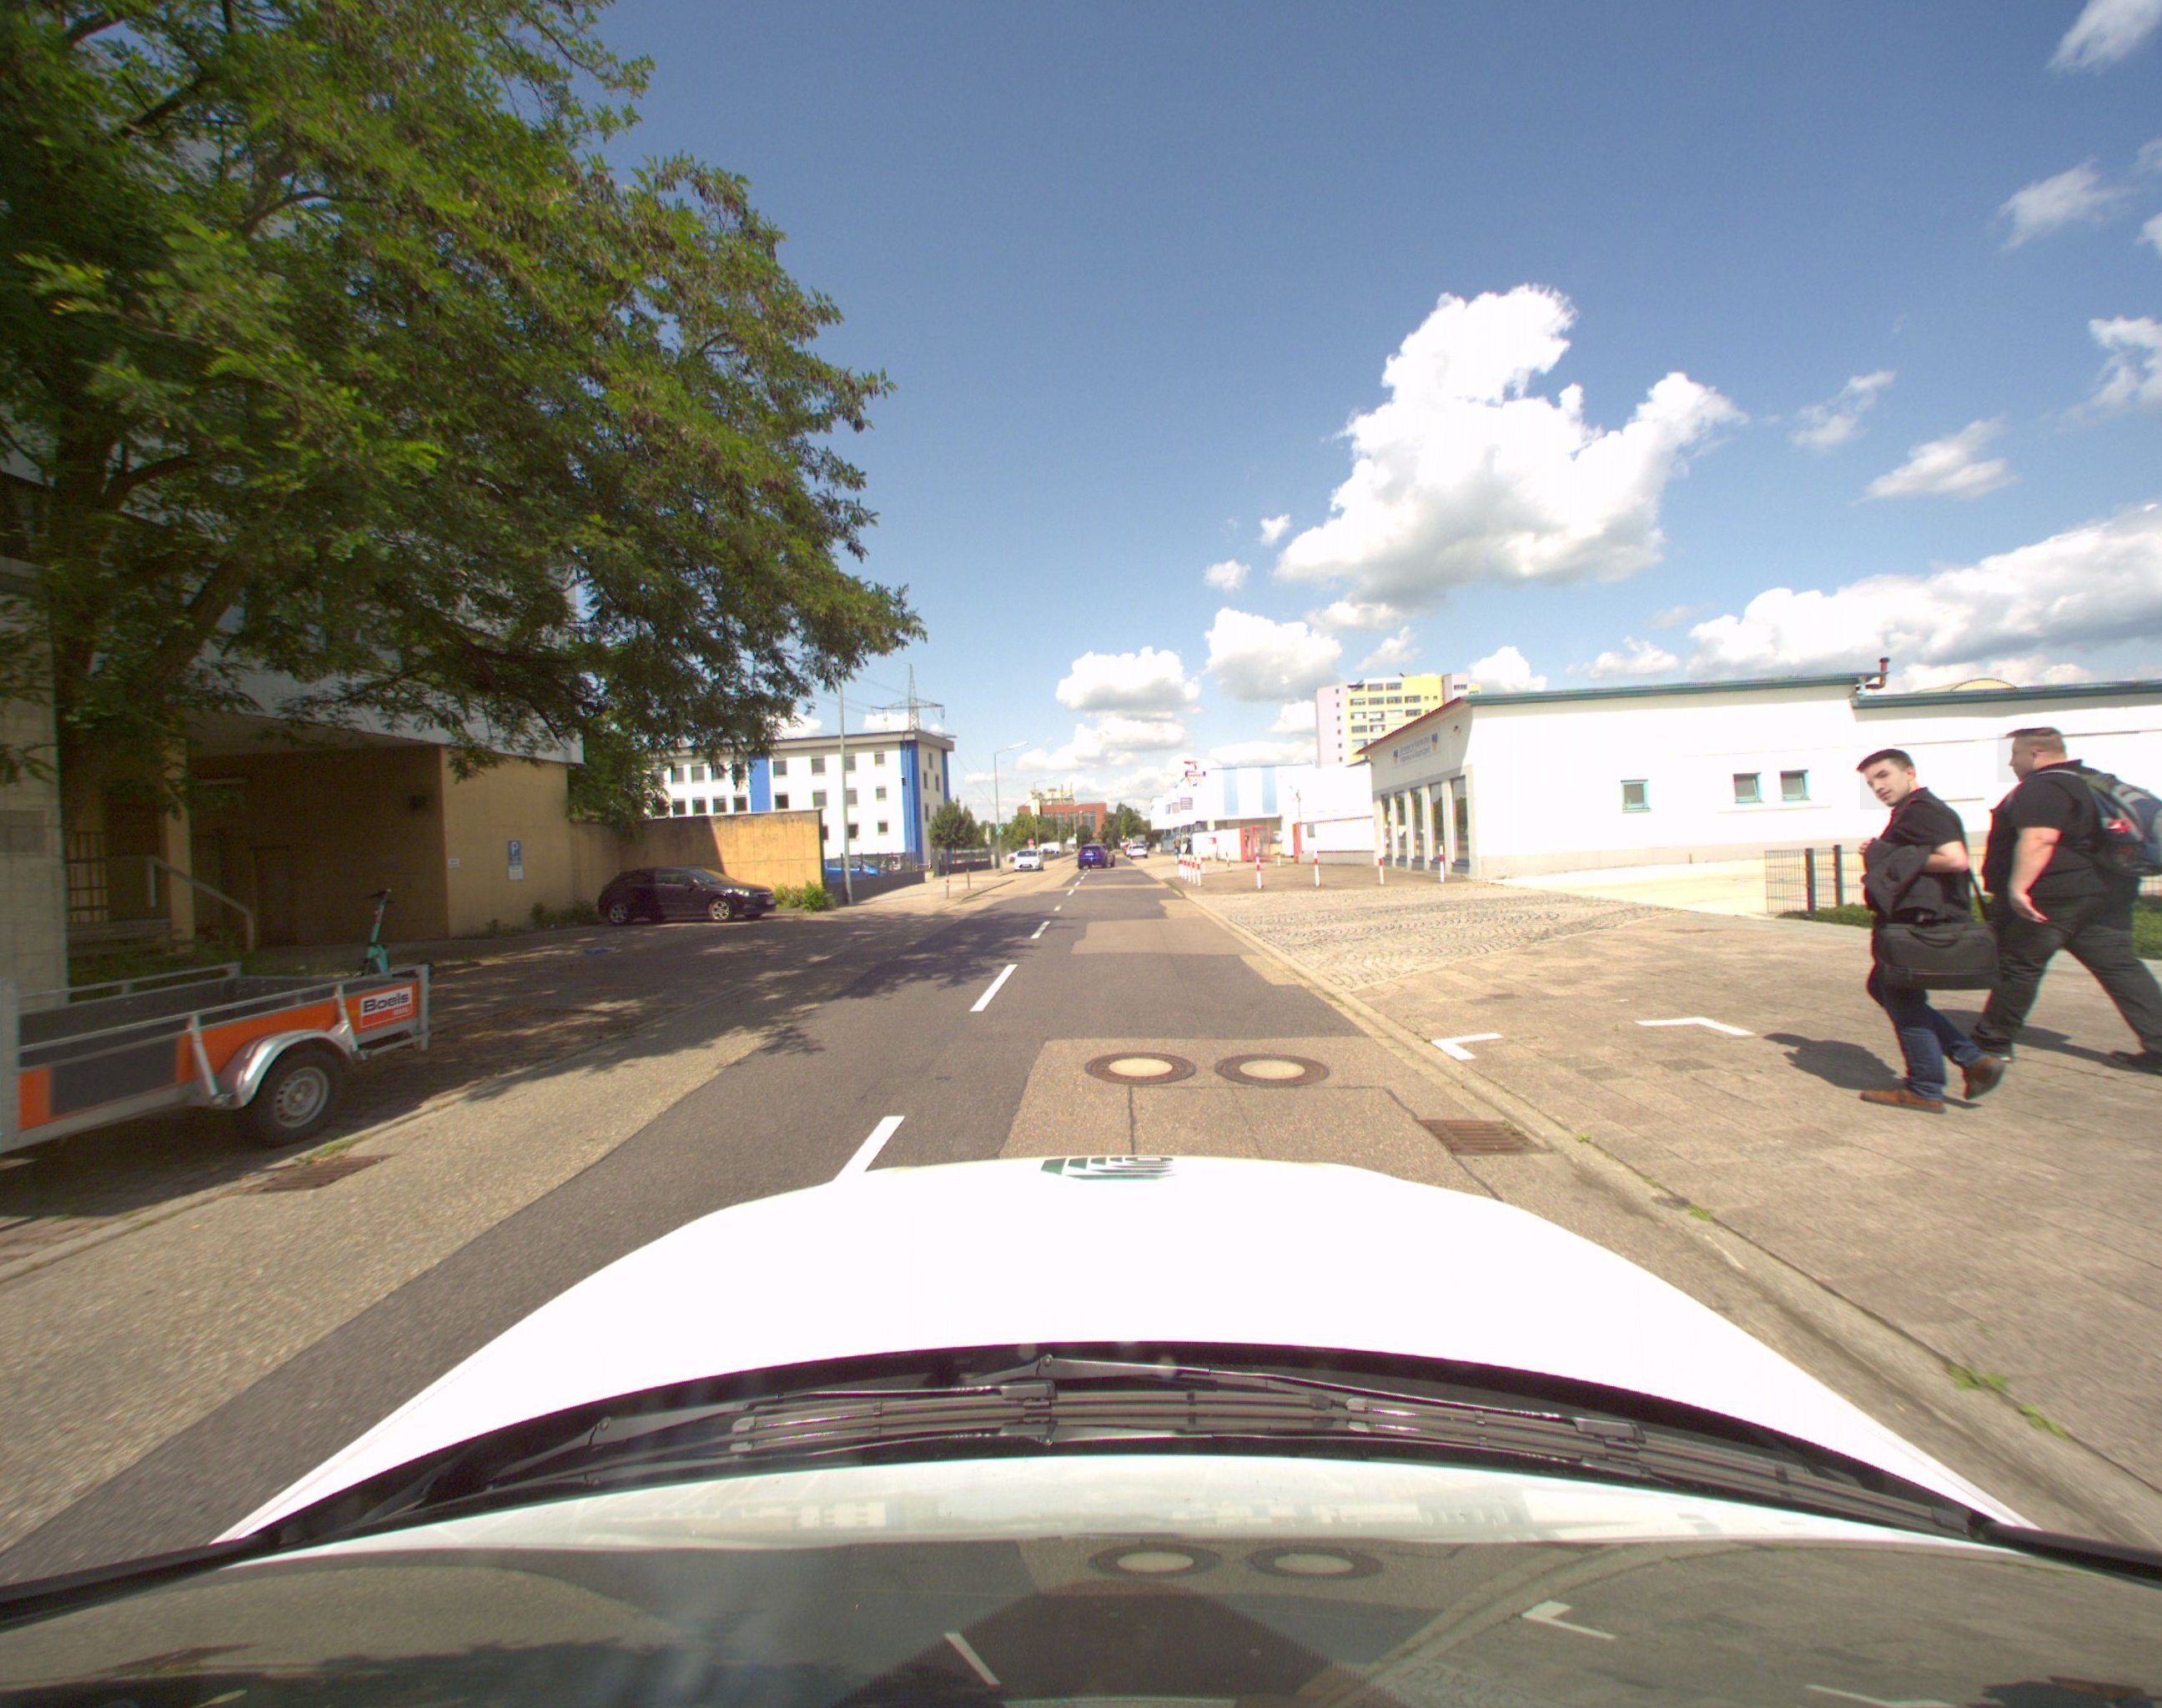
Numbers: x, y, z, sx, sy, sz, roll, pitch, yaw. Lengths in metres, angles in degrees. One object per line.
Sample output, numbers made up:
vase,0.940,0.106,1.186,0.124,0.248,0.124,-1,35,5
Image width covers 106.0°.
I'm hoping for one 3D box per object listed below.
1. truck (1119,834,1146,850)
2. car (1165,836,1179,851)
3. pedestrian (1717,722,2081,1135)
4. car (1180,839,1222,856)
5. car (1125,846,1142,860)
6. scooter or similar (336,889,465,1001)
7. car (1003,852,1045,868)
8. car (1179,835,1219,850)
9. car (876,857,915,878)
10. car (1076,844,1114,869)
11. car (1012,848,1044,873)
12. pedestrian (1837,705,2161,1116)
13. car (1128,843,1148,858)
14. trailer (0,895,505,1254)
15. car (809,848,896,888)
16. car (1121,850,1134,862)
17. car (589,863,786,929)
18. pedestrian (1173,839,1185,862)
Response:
truck,13.001,-2.955,204.169,2.298,3.567,9.428,-1,2,32
car,15.068,-1.727,135.294,1.916,2.463,5.262,-2,0,2
pedestrian,4.142,0.308,4.192,0.860,1.807,0.998,-4,0,-21
car,12.065,-0.640,82.278,3.971,1.420,2.001,-4,1,2
car,6.321,-0.160,98.795,1.828,1.520,4.463,-2,0,1
scooter or similar,-8.724,1.123,10.500,0.480,1.279,1.361,0,0,2
car,-6.858,0.736,98.359,4.742,1.602,1.999,-4,0,-2
car,13.318,-1.261,92.178,4.263,1.420,2.001,-4,1,2
car,-15.311,1.093,67.401,1.862,1.507,3.767,-3,0,8
car,1.008,0.148,56.042,1.898,1.593,4.713,-2,0,9
car,-3.853,0.420,59.723,1.861,1.708,4.754,-2,0,1
pedestrian,5.232,0.245,4.548,0.993,1.951,1.083,-4,0,-21
car,6.020,-0.398,86.136,1.861,1.520,4.599,-2,0,1
trailer,-5.714,1.079,4.569,1.760,1.439,4.338,0,0,2
car,-11.153,0.648,39.909,3.635,1.708,1.879,-3,0,1
car,6.714,0.313,117.853,1.747,1.650,4.682,-2,0,4
car,-9.713,1.015,20.308,3.974,1.362,1.797,-3,0,5
pedestrian,8.061,-0.283,66.795,0.766,1.756,0.787,-5,0,1
